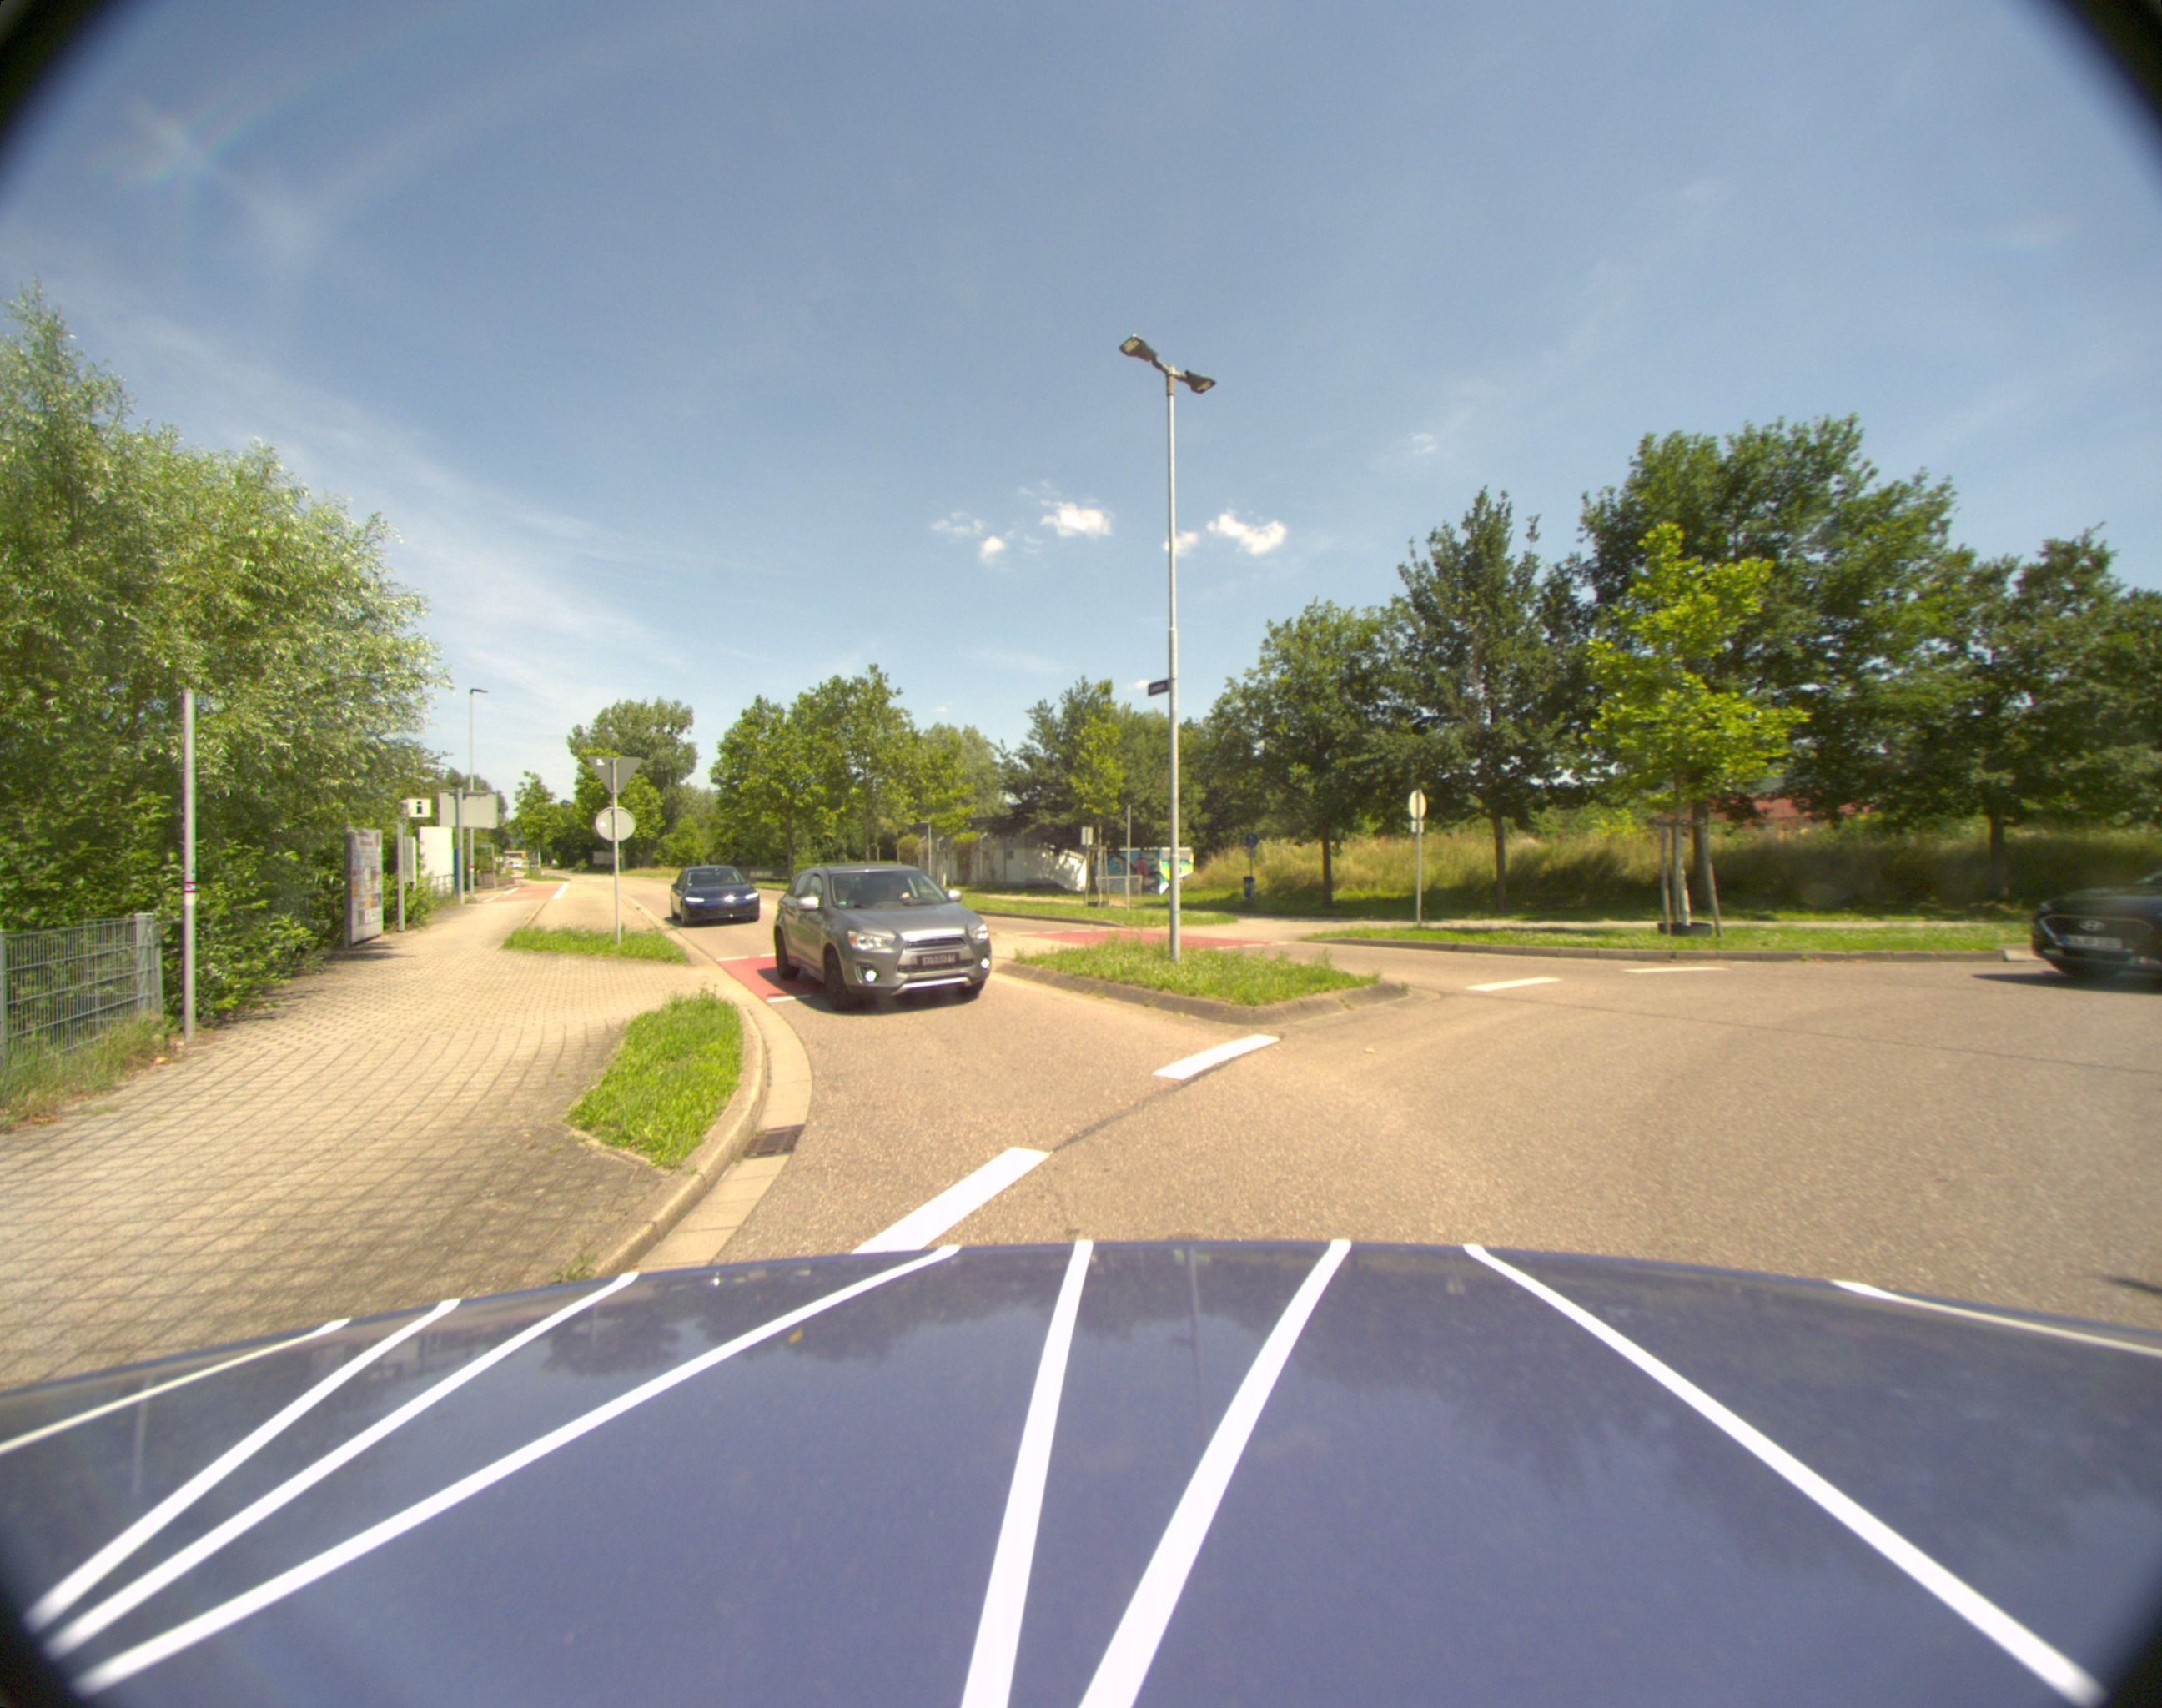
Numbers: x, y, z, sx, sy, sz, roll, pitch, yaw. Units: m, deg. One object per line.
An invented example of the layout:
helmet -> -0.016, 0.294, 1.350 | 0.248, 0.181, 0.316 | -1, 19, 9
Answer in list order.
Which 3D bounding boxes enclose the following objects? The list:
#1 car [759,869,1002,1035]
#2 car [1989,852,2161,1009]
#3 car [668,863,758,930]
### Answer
car -> -2.843, 1.024, 9.926 | 1.754, 1.525, 4.513 | -1, 1, -33
car -> 13.025, 0.748, 7.991 | 4.482, 1.559, 1.867 | -1, -1, 4
car -> -9.755, 1.022, 19.969 | 1.797, 1.530, 4.122 | -1, 0, -30
